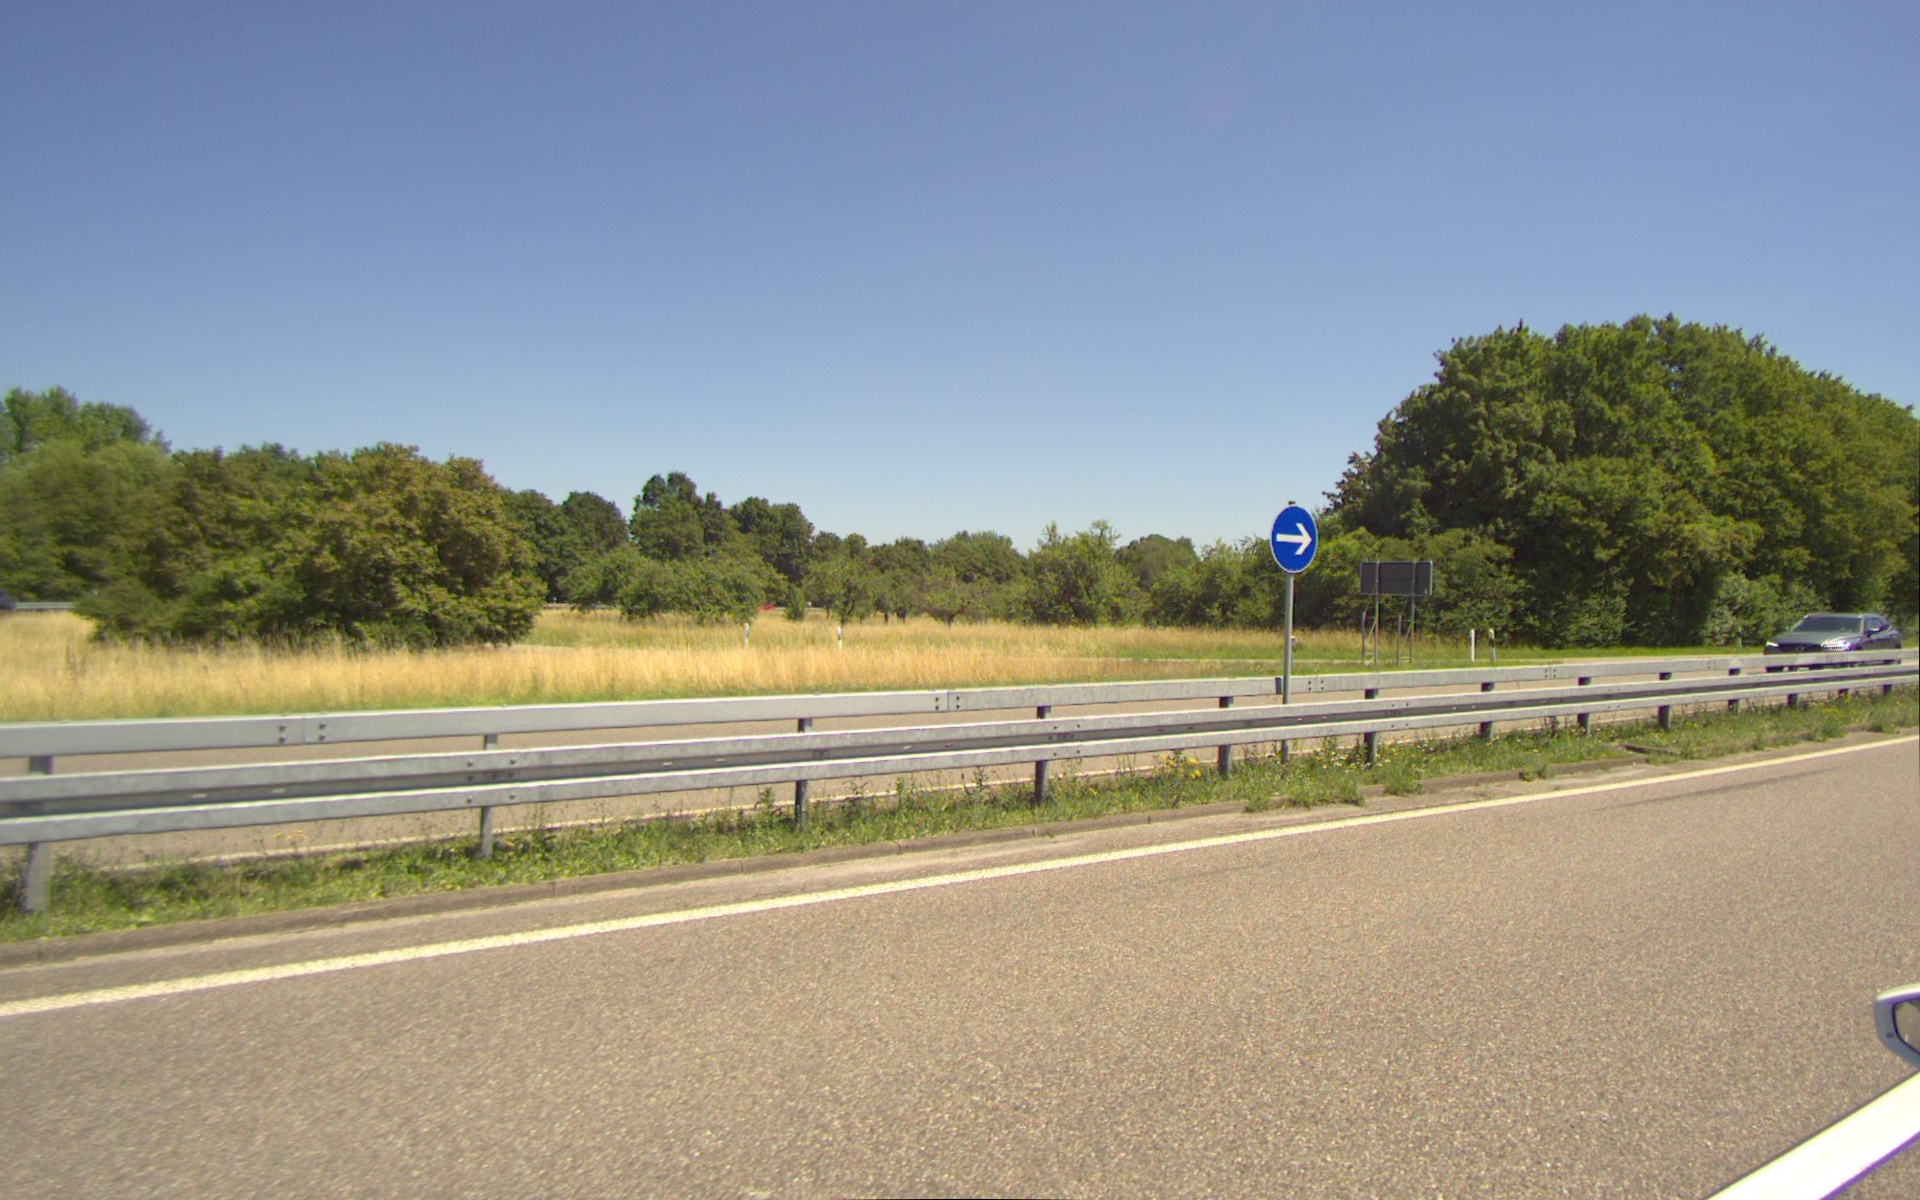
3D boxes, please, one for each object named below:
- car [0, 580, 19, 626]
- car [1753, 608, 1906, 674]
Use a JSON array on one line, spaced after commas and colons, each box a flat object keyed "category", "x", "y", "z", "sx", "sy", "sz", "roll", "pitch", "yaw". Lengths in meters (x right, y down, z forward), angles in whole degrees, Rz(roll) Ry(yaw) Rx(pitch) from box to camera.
[{"category": "car", "x": -44.262, "y": 0.130, "z": 44.171, "sx": 1.960, "sy": 2.041, "sz": 4.000, "roll": 2, "pitch": 1, "yaw": 2}, {"category": "car", "x": 23.395, "y": 1.046, "z": 26.989, "sx": 4.487, "sy": 1.639, "sz": 1.815, "roll": 0, "pitch": -1, "yaw": -31}]
